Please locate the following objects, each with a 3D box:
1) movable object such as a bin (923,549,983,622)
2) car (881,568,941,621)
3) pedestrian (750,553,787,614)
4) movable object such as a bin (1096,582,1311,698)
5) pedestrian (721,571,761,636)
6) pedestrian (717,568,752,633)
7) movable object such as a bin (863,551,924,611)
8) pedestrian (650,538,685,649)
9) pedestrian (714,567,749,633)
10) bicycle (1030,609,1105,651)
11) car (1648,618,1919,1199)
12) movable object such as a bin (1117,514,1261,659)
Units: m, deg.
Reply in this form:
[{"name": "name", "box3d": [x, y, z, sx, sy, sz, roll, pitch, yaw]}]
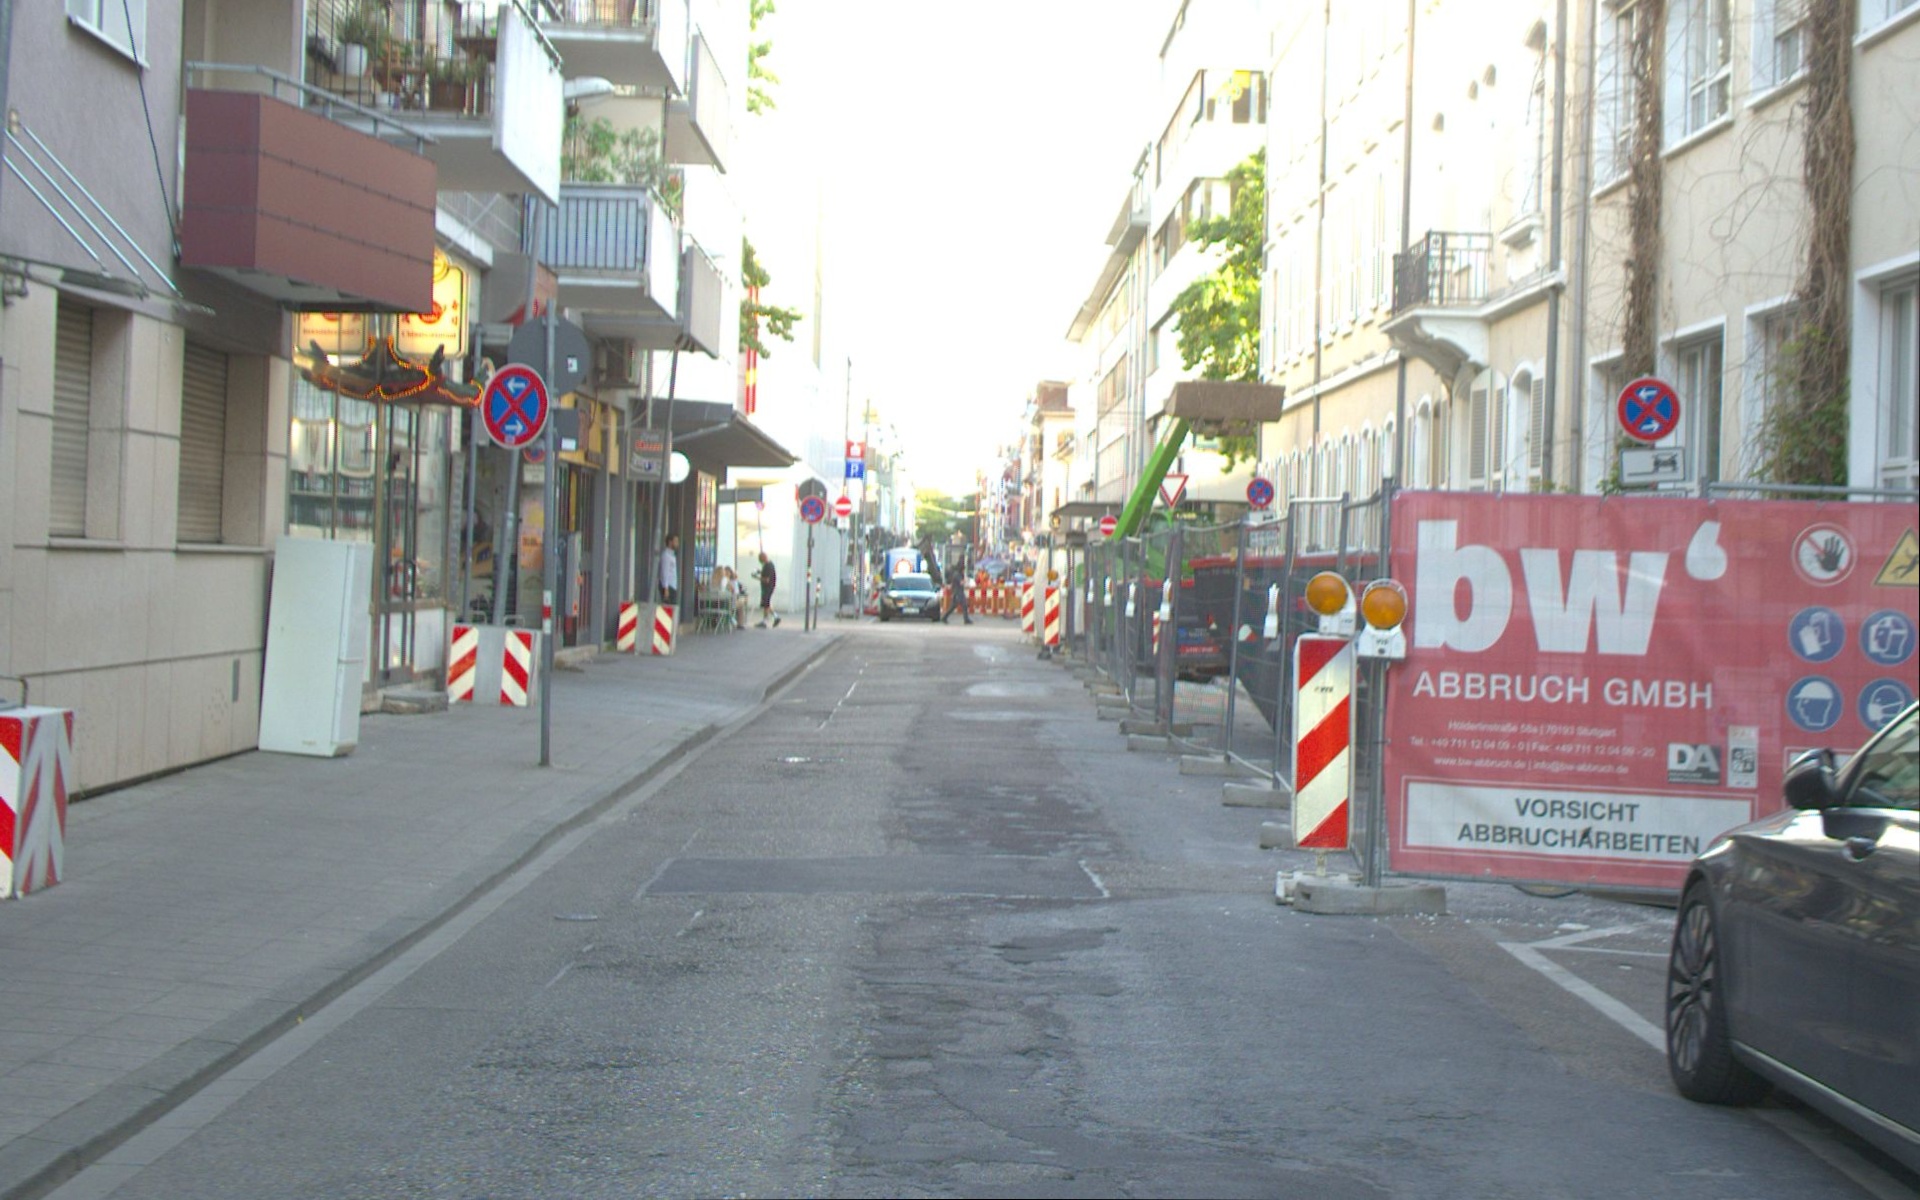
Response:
[{"name": "movable object such as a bin", "box3d": [-0.285, -0.542, 129.255, 2.156, 2.654, 4.573, 1, 0, 0]}, {"name": "car", "box3d": [-1.497, -0.171, 103.894, 1.629, 1.545, 3.143, 1, 0, -4]}, {"name": "pedestrian", "box3d": [-4.127, -0.356, 74.191, 0.711, 1.271, 0.704, 2, 0, 0]}, {"name": "movable object such as a bin", "box3d": [3.828, 0.582, 55.683, 2.735, 1.633, 7.553, 2, 0, -1]}, {"name": "pedestrian", "box3d": [-4.438, 0.063, 69.733, 0.702, 1.271, 0.713, 3, 0, 0]}, {"name": "pedestrian", "box3d": [-4.519, 0.005, 68.883, 0.573, 1.271, 0.713, 3, 0, 0]}, {"name": "movable object such as a bin", "box3d": [-2.279, -0.660, 119.024, 1.993, 2.007, 4.000, 1, 0, 0]}, {"name": "pedestrian", "box3d": [-4.865, -0.114, 57.144, 0.530, 1.828, 0.563, 1, 1, -6]}, {"name": "pedestrian", "box3d": [-4.527, 0.001, 68.060, 0.573, 1.271, 0.713, 3, 0, 0]}, {"name": "bicycle", "box3d": [2.809, 0.785, 89.914, 1.890, 1.034, 0.409, 1, 0, -3]}, {"name": "car", "box3d": [3.050, 0.864, 8.261, 1.787, 1.466, 4.446, 4, 0, 0]}, {"name": "movable object such as a bin", "box3d": [4.628, -0.281, 70.175, 2.605, 2.829, 4.450, 1, 0, 0]}]
